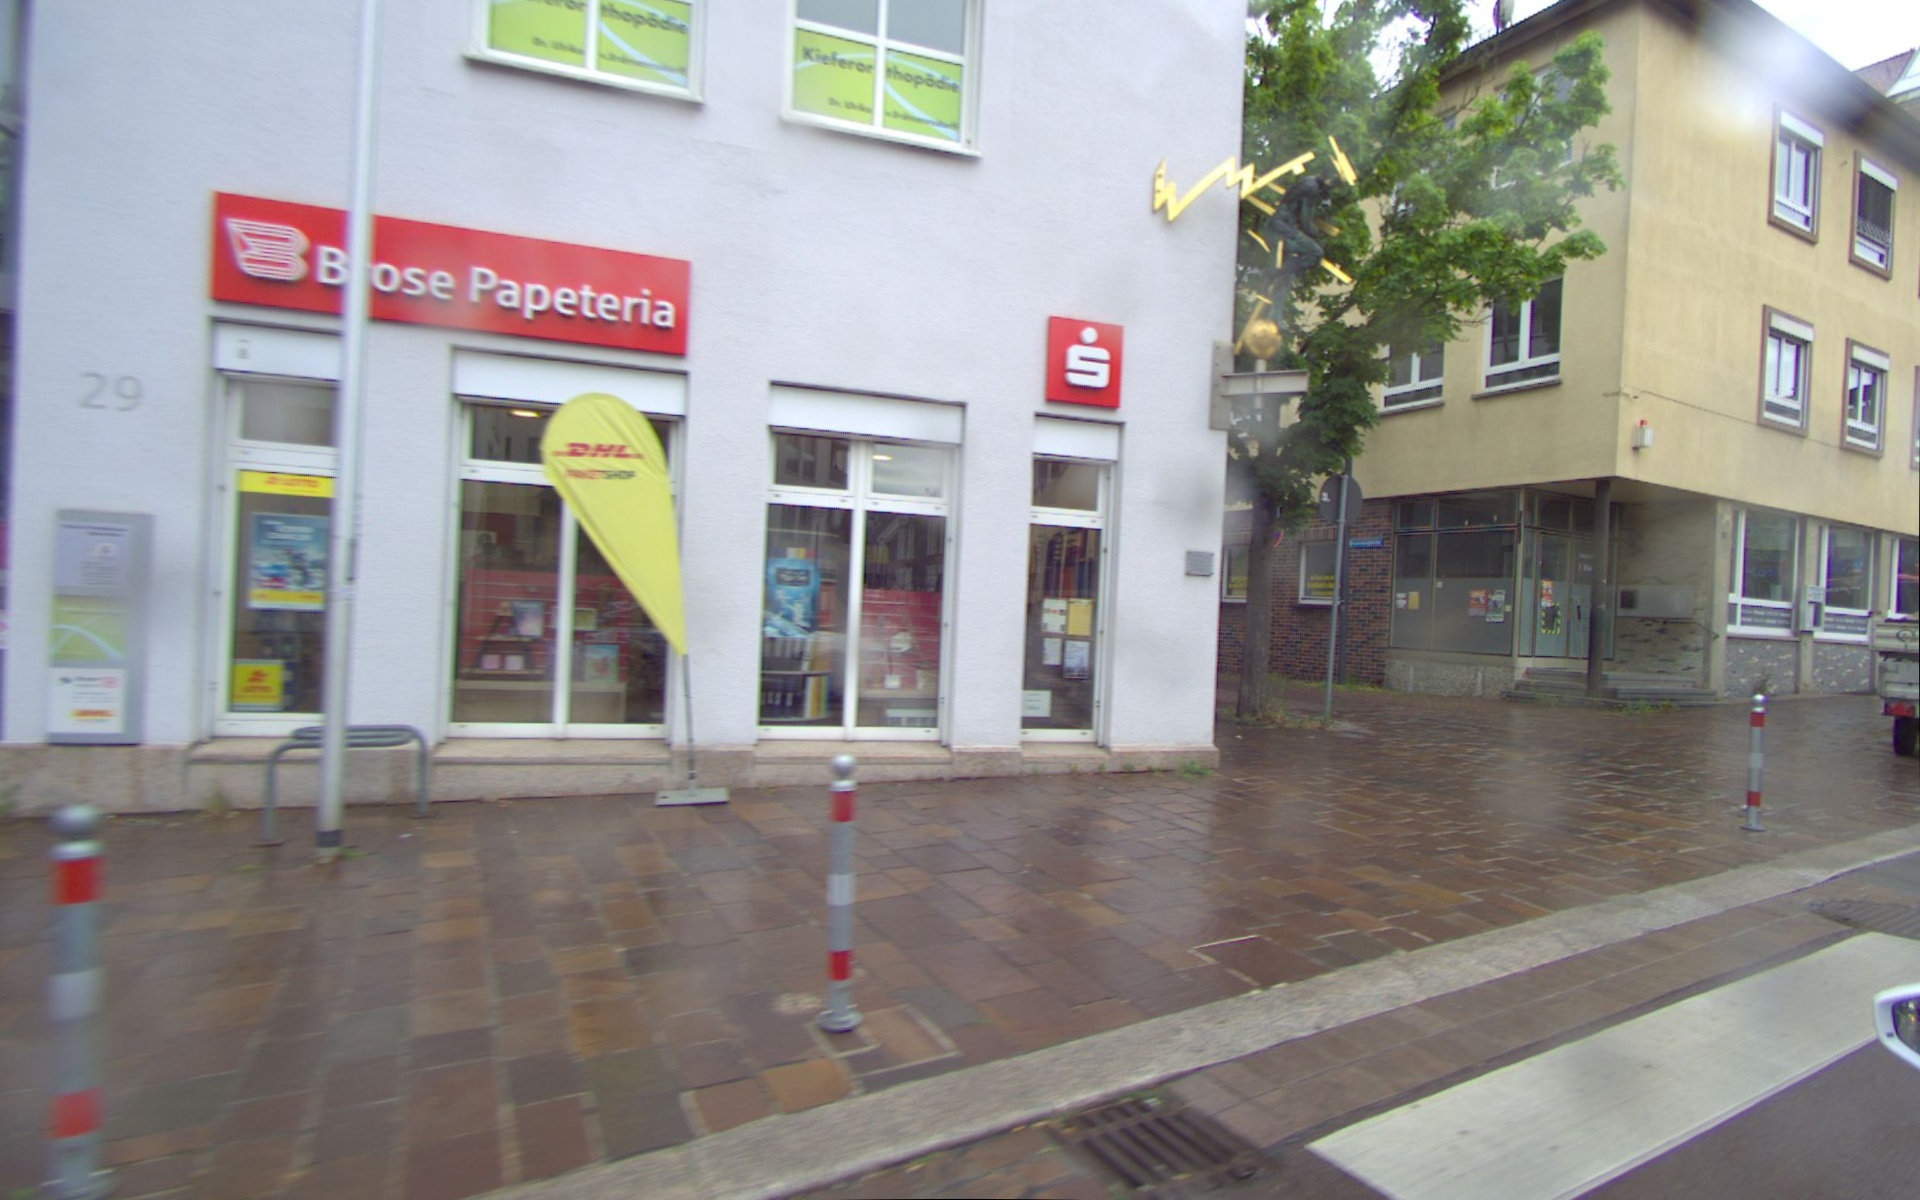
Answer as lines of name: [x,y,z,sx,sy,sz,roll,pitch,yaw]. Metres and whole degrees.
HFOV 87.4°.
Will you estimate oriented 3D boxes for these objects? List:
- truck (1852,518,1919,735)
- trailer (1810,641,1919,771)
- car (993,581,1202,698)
truck: [14.581,0.291,13.442,6.413,2.630,2.385,-1,2,-34]
trailer: [10.732,1.102,10.698,2.988,1.140,1.840,-1,2,-34]
car: [2.053,0.605,16.312,1.826,1.639,4.107,2,-1,-16]
